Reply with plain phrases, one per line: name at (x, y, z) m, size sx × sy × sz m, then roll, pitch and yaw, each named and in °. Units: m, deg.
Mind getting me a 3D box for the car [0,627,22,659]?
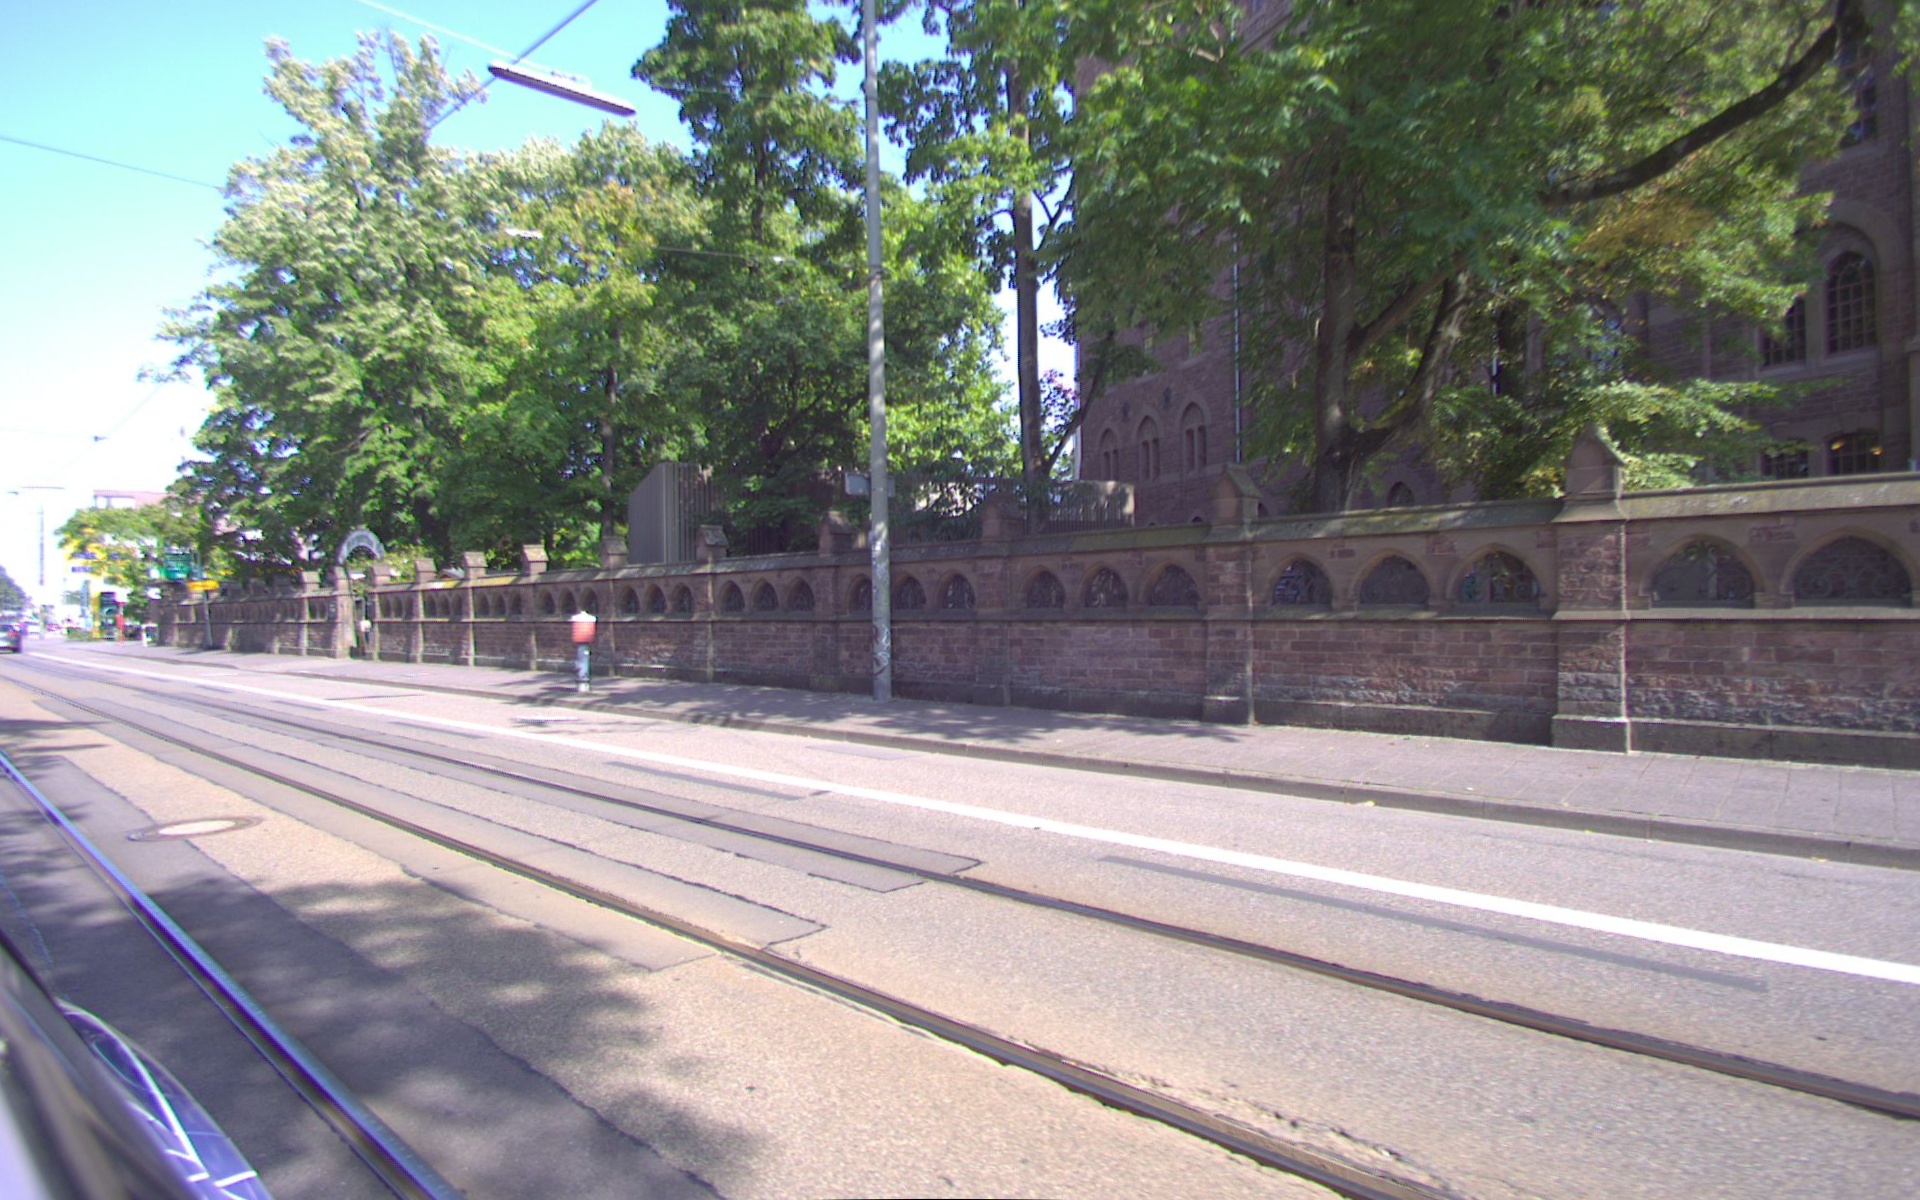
car at (-45.725, 2.016, 47.870) m, size 3.999 × 1.453 × 1.672 m, roll -2°, pitch -2°, yaw 42°
